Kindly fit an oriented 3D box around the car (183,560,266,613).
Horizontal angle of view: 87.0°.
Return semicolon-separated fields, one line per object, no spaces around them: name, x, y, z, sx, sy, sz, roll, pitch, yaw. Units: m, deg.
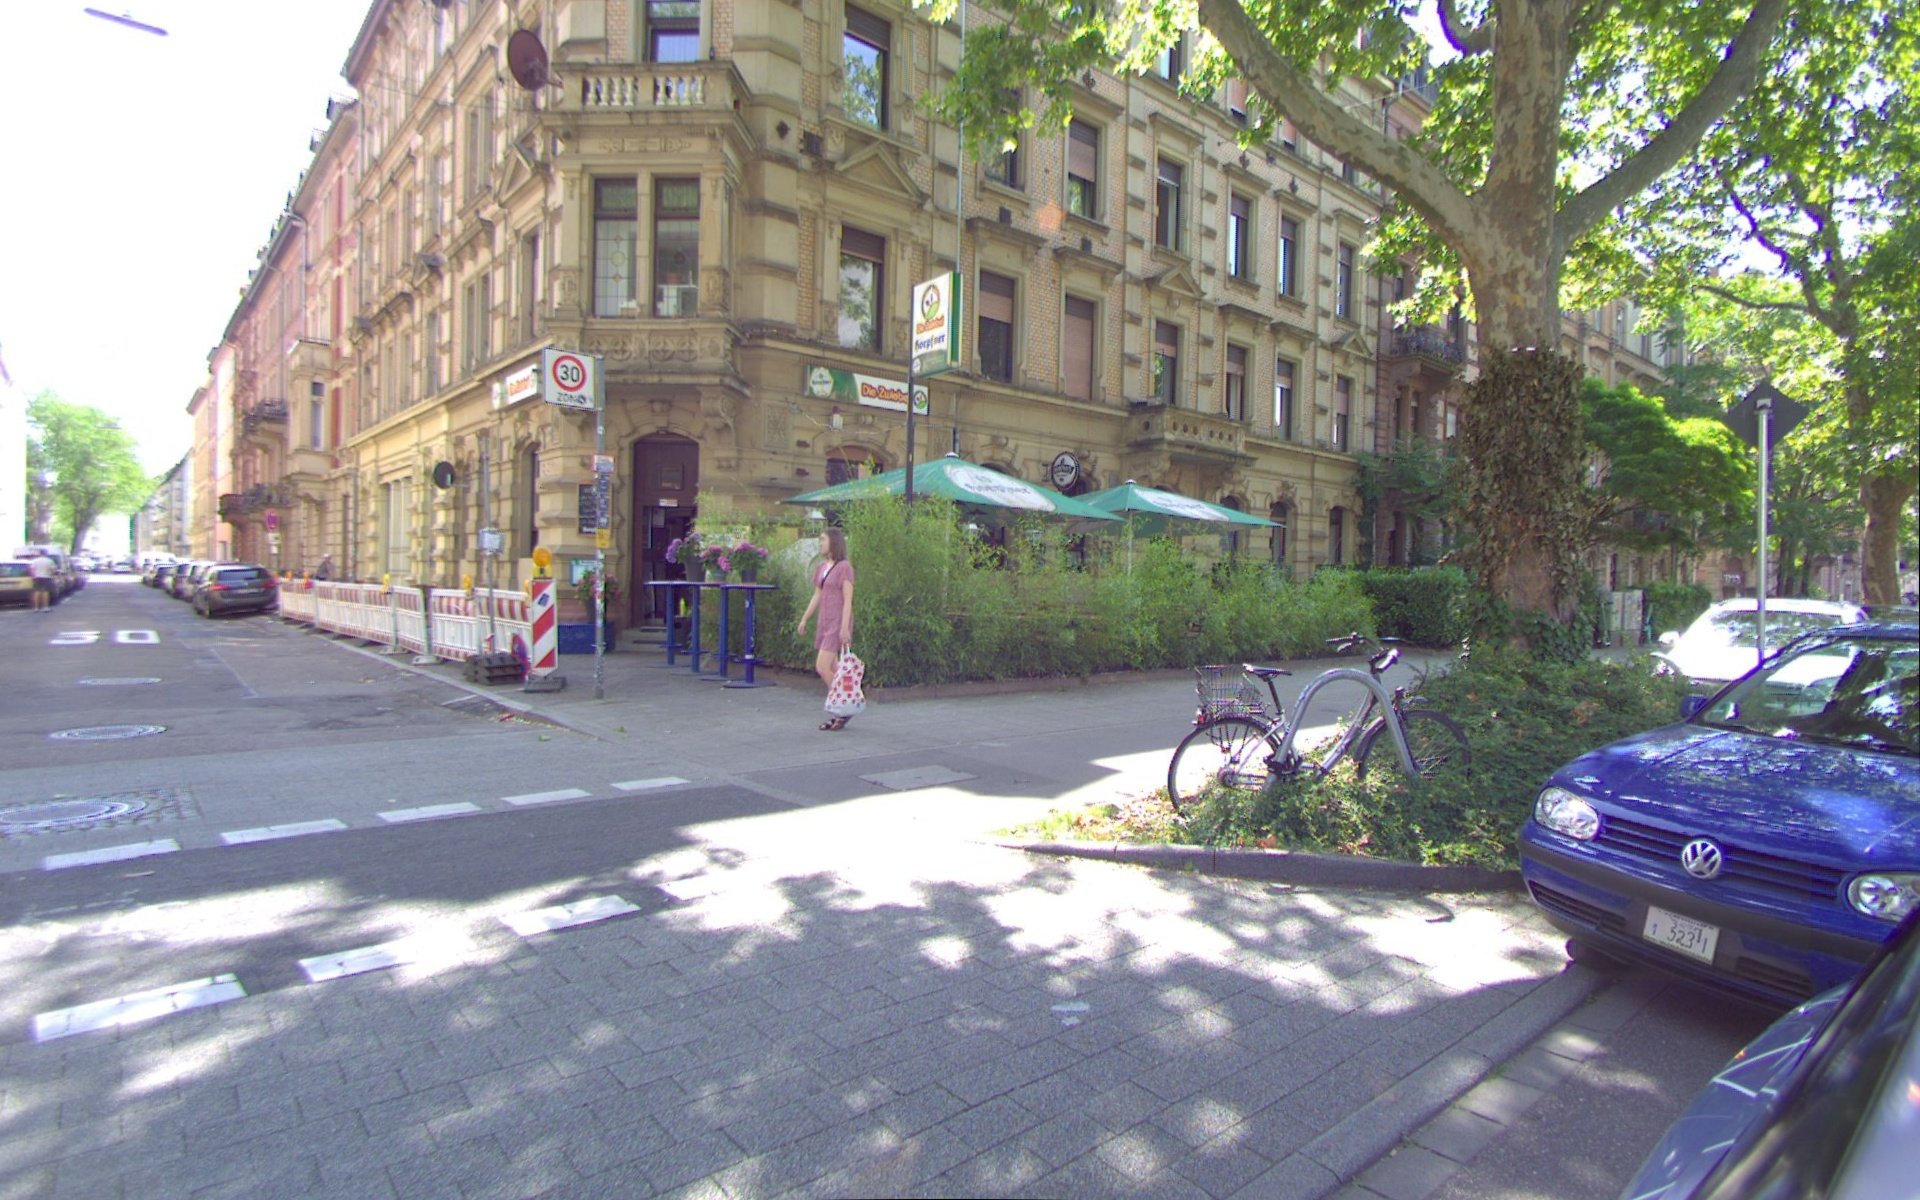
car;-24.882;-0.485;34.204;1.965;1.660;3.995;0;2;-41

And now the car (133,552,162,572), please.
car;-75.291;-3.517;93.762;1.965;1.760;3.995;0;1;-41

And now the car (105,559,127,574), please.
car;-98.037;-3.892;117.559;1.965;1.760;3.995;0;1;-41

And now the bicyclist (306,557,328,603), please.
bicyclist;-20.775;-0.656;32.698;0.524;1.471;0.460;0;1;-43

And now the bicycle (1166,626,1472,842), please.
bicycle;2.000;0.723;5.672;1.583;1.119;0.423;1;1;-10

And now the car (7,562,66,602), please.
car;-37.578;-0.763;41.251;1.698;1.548;3.490;0;1;-41

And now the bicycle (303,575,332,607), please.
bicycle;-20.730;-0.299;32.649;0.530;0.991;1.307;0;1;-44

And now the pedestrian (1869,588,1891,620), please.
pedestrian;51.031;0.242;56.132;0.951;1.740;0.796;0;1;-41

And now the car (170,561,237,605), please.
car;-31.563;-0.725;42.191;1.965;1.760;3.995;0;2;-41

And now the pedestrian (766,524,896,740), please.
pedestrian;-1.153;0.251;9.037;0.837;1.807;0.737;0;3;-41

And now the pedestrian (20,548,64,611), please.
pedestrian;-26.971;-0.598;29.738;0.921;1.821;1.036;0;1;-44

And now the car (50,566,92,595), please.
car;-57.375;-1.268;65.381;1.879;1.731;4.158;0;1;-39

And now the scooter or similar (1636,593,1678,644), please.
scooter or similar;18.389;0.478;26.695;1.124;1.298;0.583;0;1;-39

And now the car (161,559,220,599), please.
car;-35.802;-0.979;47.067;1.965;1.760;3.995;0;2;-41

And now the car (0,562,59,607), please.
car;-33.772;-0.576;36.623;1.698;1.548;3.489;0;1;-42

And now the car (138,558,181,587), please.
car;-50.546;-1.738;63.885;1.965;1.760;3.995;0;2;-41

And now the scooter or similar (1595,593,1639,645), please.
scooter or similar;16.268;0.459;25.063;1.124;1.263;0.583;0;1;-40

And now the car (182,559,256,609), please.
car;-27.884;-0.622;38.030;1.965;1.760;3.995;0;2;-41

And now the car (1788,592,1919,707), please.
car;14.553;0.681;15.692;4.561;1.527;1.837;0;2;-40

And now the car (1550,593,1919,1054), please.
car;4.694;0.727;4.356;4.010;1.427;1.891;0;1;-28

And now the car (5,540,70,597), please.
car;-40.952;-1.380;44.997;1.879;2.403;4.244;0;1;-39

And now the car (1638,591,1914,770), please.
car;9.092;0.699;11.130;4.418;1.527;1.835;0;2;-44

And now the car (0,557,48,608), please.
car;-30.222;-0.587;32.242;1.698;1.548;3.490;0;1;-41

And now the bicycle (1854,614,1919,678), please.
bicycle;17.296;0.833;18.285;1.615;1.102;0.469;2;1;17

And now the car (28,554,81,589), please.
car;-48.021;-1.518;53.738;1.879;1.731;4.158;0;1;-39

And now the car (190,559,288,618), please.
car;-20.963;-0.369;29.375;1.965;1.571;3.995;0;2;-41
